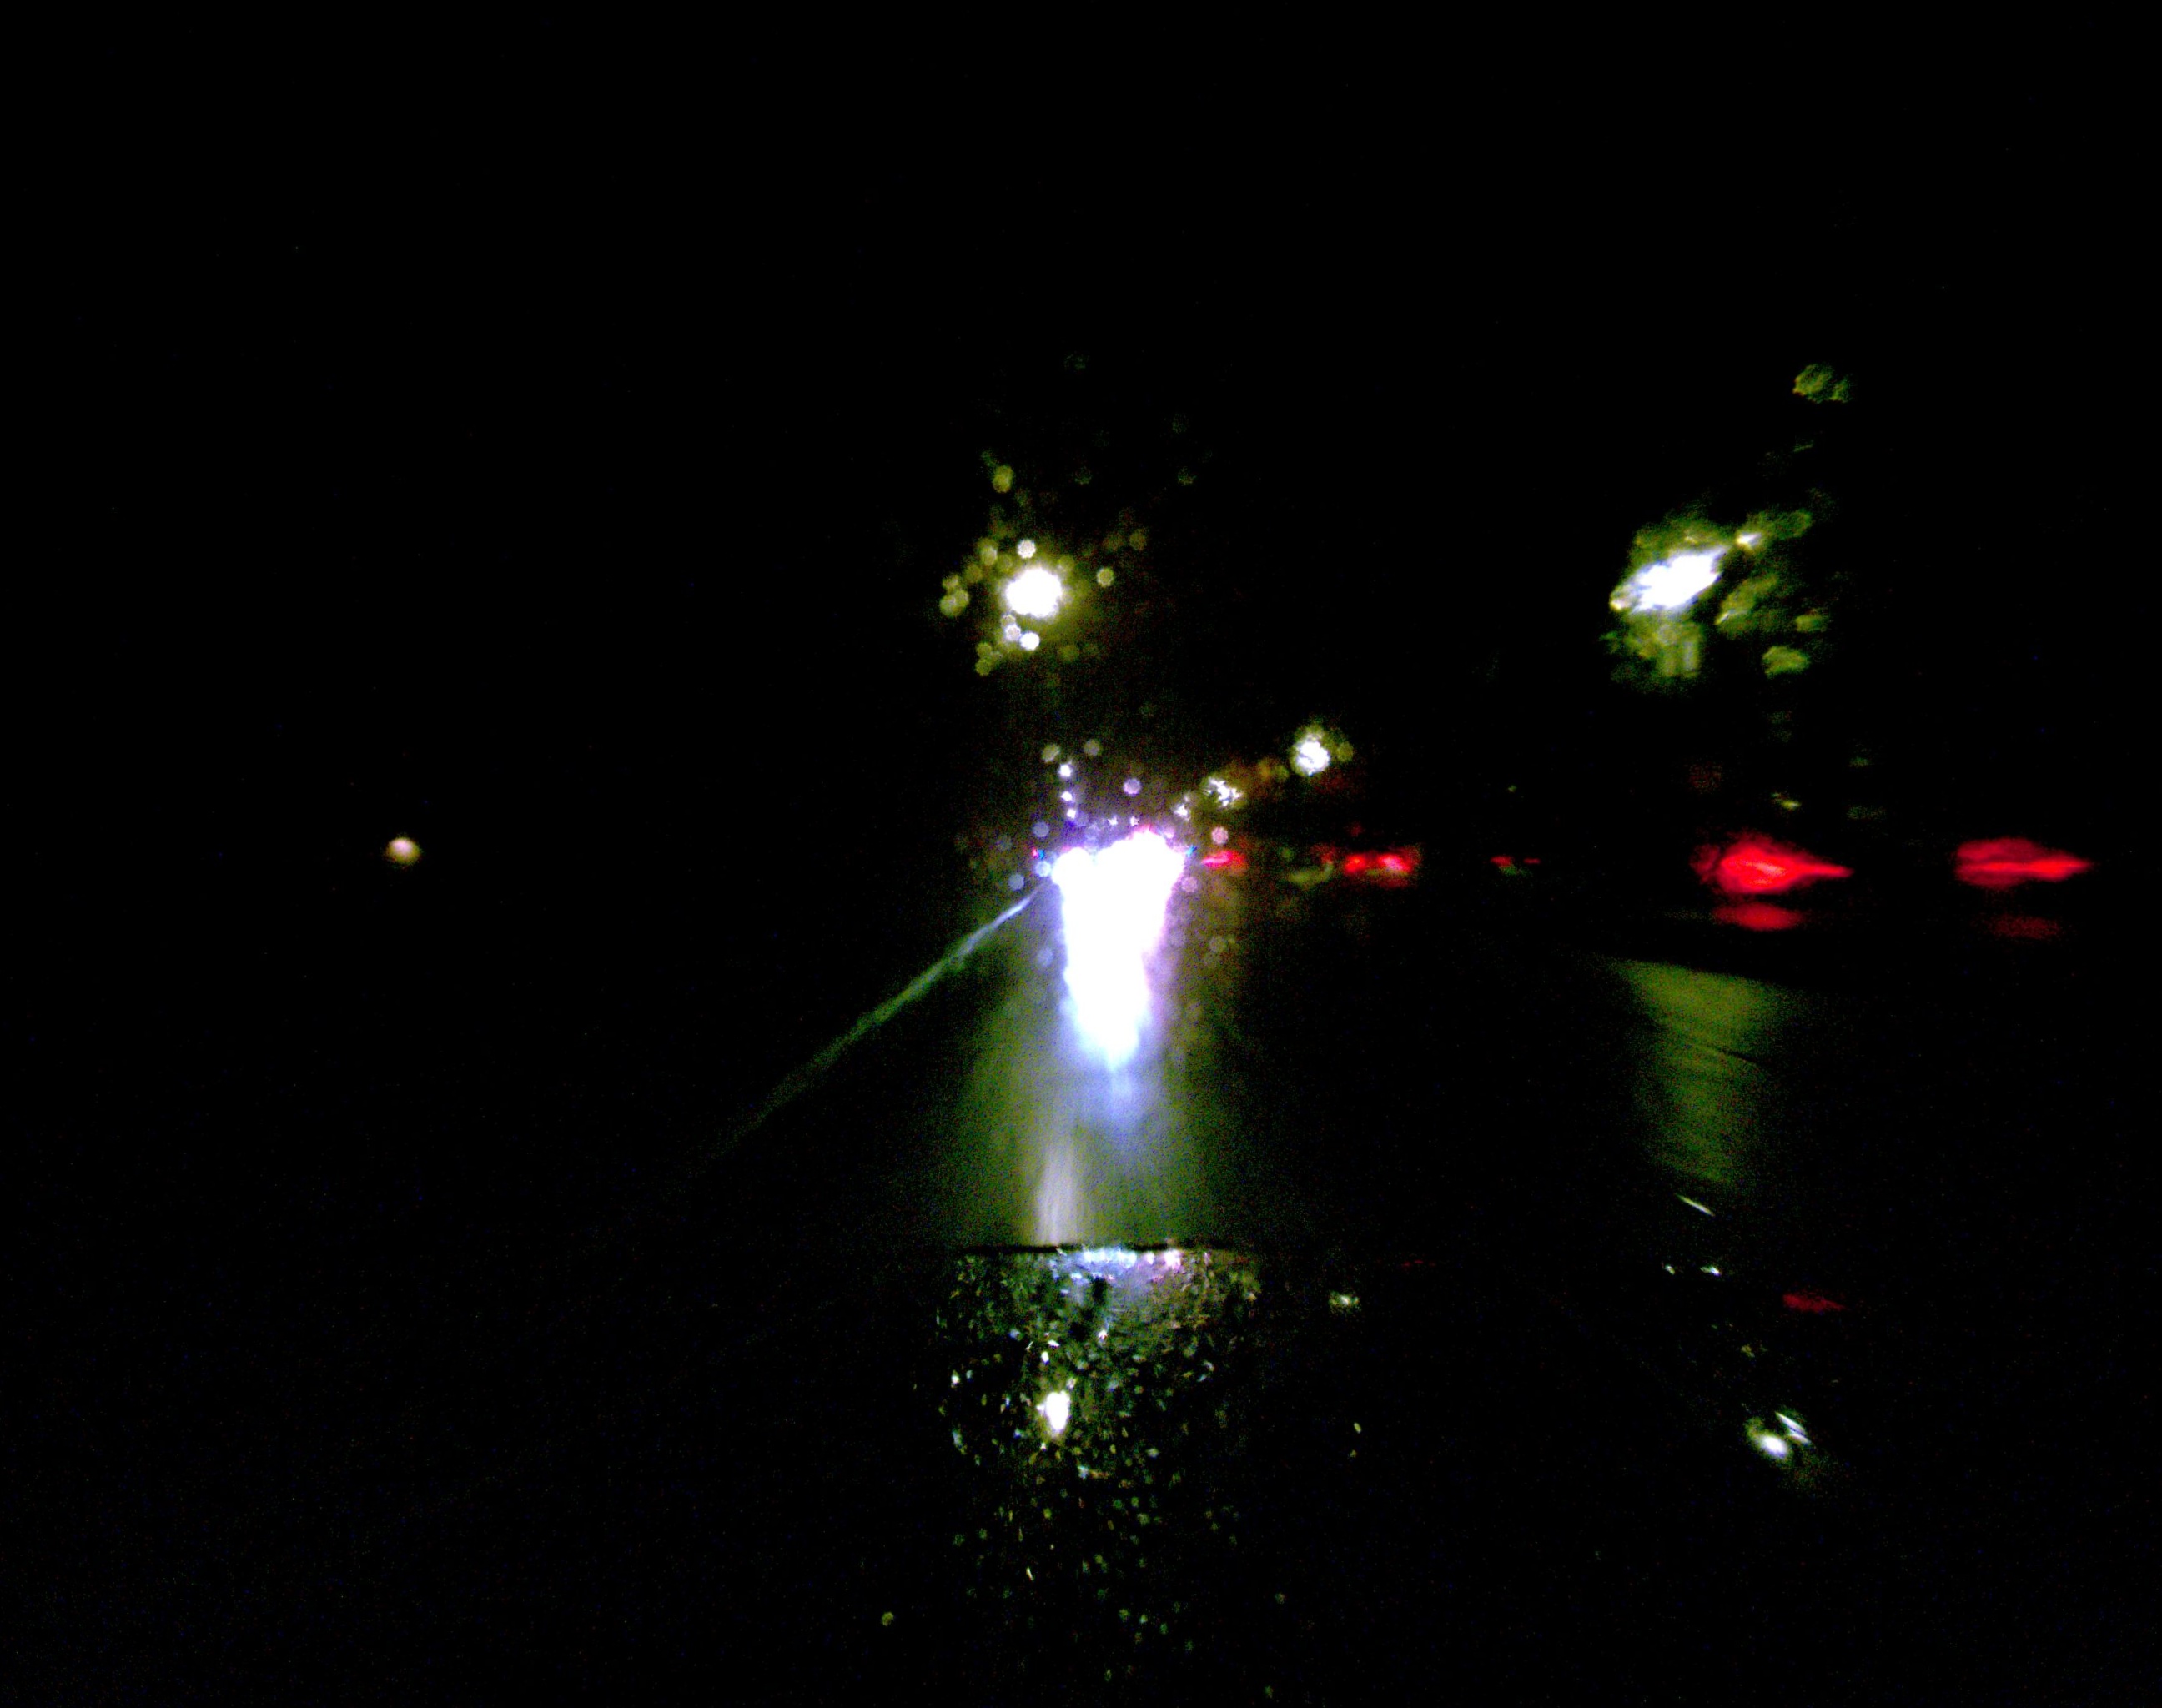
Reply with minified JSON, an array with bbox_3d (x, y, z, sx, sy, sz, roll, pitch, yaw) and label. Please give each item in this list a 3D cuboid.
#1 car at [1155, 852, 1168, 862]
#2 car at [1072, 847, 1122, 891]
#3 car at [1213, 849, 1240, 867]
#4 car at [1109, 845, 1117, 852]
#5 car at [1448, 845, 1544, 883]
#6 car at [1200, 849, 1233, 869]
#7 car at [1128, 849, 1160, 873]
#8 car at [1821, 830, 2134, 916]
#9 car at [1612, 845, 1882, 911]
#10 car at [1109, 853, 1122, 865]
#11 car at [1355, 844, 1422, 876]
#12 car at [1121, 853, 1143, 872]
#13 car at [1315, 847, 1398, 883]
[{"bbox_3d":[13.984,0.460,132.326,1.711,1.568,3.819,-3,1,-1],"label":"car"},{"bbox_3d":[0.674,0.614,33.372,1.950,1.709,4.441,-3,1,0],"label":"car"},{"bbox_3d":[13.707,0.329,71.994,1.711,1.568,3.819,-3,1,-1],"label":"car"},{"bbox_3d":[7.909,-1.320,190.357,1.834,1.696,4.194,-3,1,0],"label":"car"},{"bbox_3d":[19.366,0.423,35.733,1.848,1.583,4.749,-3,1,0],"label":"car"},{"bbox_3d":[11.091,0.364,62.334,1.848,1.583,4.256,1,1,-1],"label":"car"},{"bbox_3d":[4.469,0.476,54.406,1.834,1.518,4.874,-3,1,0],"label":"car"},{"bbox_3d":[19.517,0.349,16.915,1.847,1.583,4.365,-3,1,1],"label":"car"},{"bbox_3d":[16.340,0.493,19.193,1.848,1.350,5.557,-3,1,-1],"label":"car"},{"bbox_3d":[5.591,0.767,123.302,1.834,1.696,4.194,-3,1,0],"label":"car"},{"bbox_3d":[17.074,0.278,42.477,1.847,1.583,4.750,-3,1,1],"label":"car"},{"bbox_3d":[5.155,0.840,77.308,1.834,1.696,4.194,-3,1,0],"label":"car"},{"bbox_3d":[13.454,0.489,37.453,1.848,1.583,5.325,-3,1,-3],"label":"car"}]
